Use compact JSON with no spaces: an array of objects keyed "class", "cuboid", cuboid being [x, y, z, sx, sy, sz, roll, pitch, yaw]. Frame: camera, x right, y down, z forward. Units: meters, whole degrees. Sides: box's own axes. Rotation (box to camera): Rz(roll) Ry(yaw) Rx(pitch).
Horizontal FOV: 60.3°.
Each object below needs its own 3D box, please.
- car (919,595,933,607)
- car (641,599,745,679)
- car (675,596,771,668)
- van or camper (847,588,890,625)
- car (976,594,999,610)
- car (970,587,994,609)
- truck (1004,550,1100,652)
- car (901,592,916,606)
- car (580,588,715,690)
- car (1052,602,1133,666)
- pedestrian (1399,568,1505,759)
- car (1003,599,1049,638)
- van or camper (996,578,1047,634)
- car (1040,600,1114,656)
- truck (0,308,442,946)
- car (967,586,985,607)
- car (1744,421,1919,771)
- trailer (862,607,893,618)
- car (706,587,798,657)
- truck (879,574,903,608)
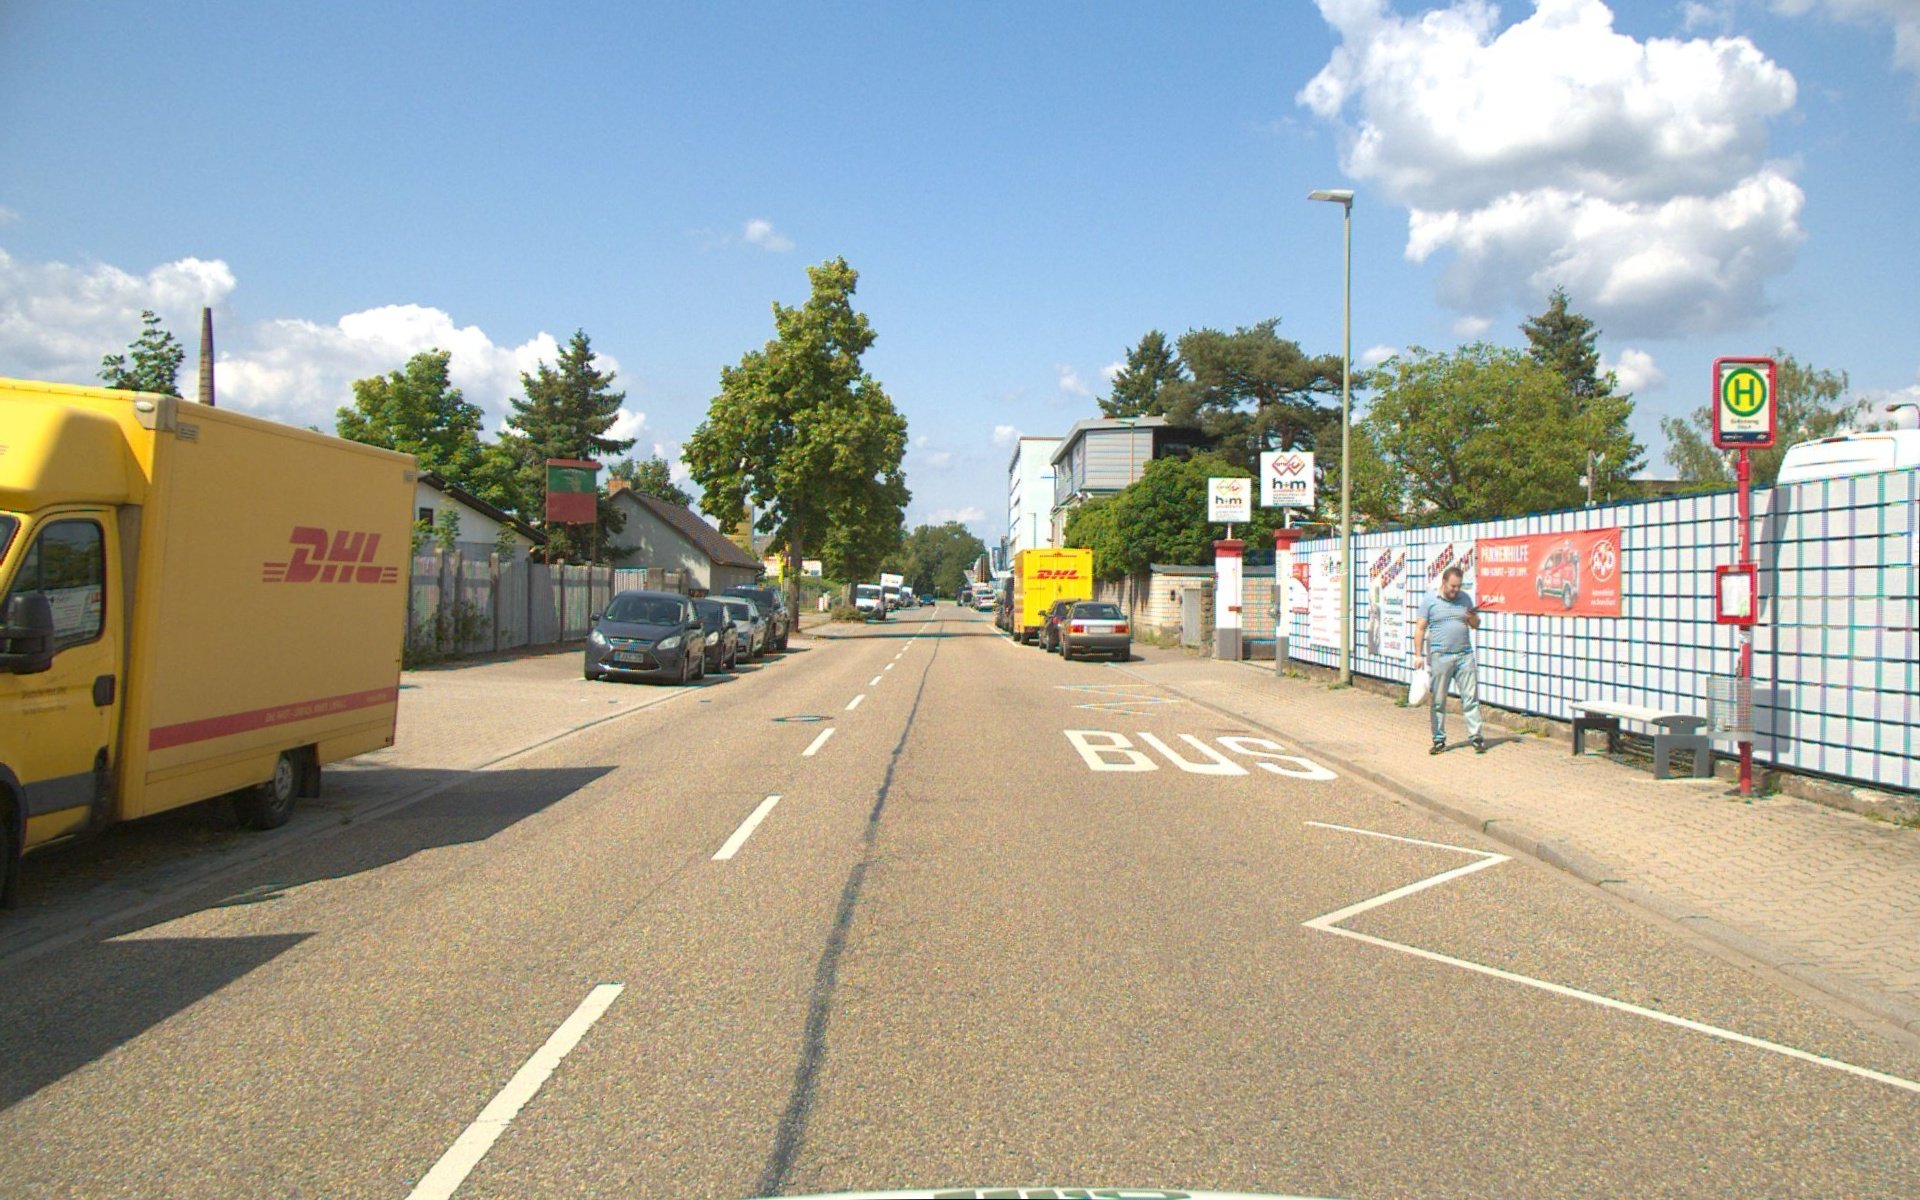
[{"class":"car","cuboid":[-4.080,0.089,199.230,1.621,1.348,4.416,0,0,0]},{"class":"car","cuboid":[-5.669,0.790,35.510,1.595,1.473,4.026,4,0,-2]},{"class":"car","cuboid":[-5.779,0.737,40.864,1.698,1.544,4.742,3,1,-1]},{"class":"van or camper","cuboid":[-6.164,0.397,112.792,2.128,2.455,7.700,0,0,3]},{"class":"car","cuboid":[2.407,0.182,145.364,1.889,1.333,4.000,0,0,0]},{"class":"car","cuboid":[2.118,-0.197,159.218,2.171,2.049,5.485,0,0,0]},{"class":"truck","cuboid":[2.834,0.014,53.034,2.424,2.991,7.186,2,0,-2]},{"class":"car","cuboid":[-6.175,-0.135,197.736,1.678,1.679,4.000,0,0,0]},{"class":"car","cuboid":[-5.631,0.659,30.280,1.690,1.632,4.412,3,0,-2]},{"class":"car","cuboid":[3.266,0.812,41.400,1.618,1.411,4.422,1,1,0]},{"class":"pedestrian","cuboid":[4.691,0.595,15.790,0.702,1.726,0.522,-5,0,-5]},{"class":"car","cuboid":[2.662,0.727,67.326,1.647,1.467,4.766,1,0,0]},{"class":"van or camper","cuboid":[2.691,0.261,73.181,1.953,2.331,5.447,2,0,0]},{"class":"car","cuboid":[3.204,0.755,45.952,1.628,1.466,4.282,0,0,-2]},{"class":"truck","cuboid":[-5.533,0.077,10.338,2.269,2.912,7.103,3,0,-1]},{"class":"car","cuboid":[1.634,-0.364,169.747,1.672,2.126,3.999,0,0,-1]},{"class":"car","cuboid":[9.535,-0.026,14.119,4.814,2.698,2.070,0,0,-8]},{"class":"trailer","cuboid":[-7.148,1.071,143.236,2.368,0.828,5.537,2,0,0]},{"class":"car","cuboid":[-5.796,0.588,46.613,1.879,1.854,4.786,0,0,1]},{"class":"truck","cuboid":[-6.516,-0.855,157.299,1.988,3.209,6.499,0,0,0]}]
